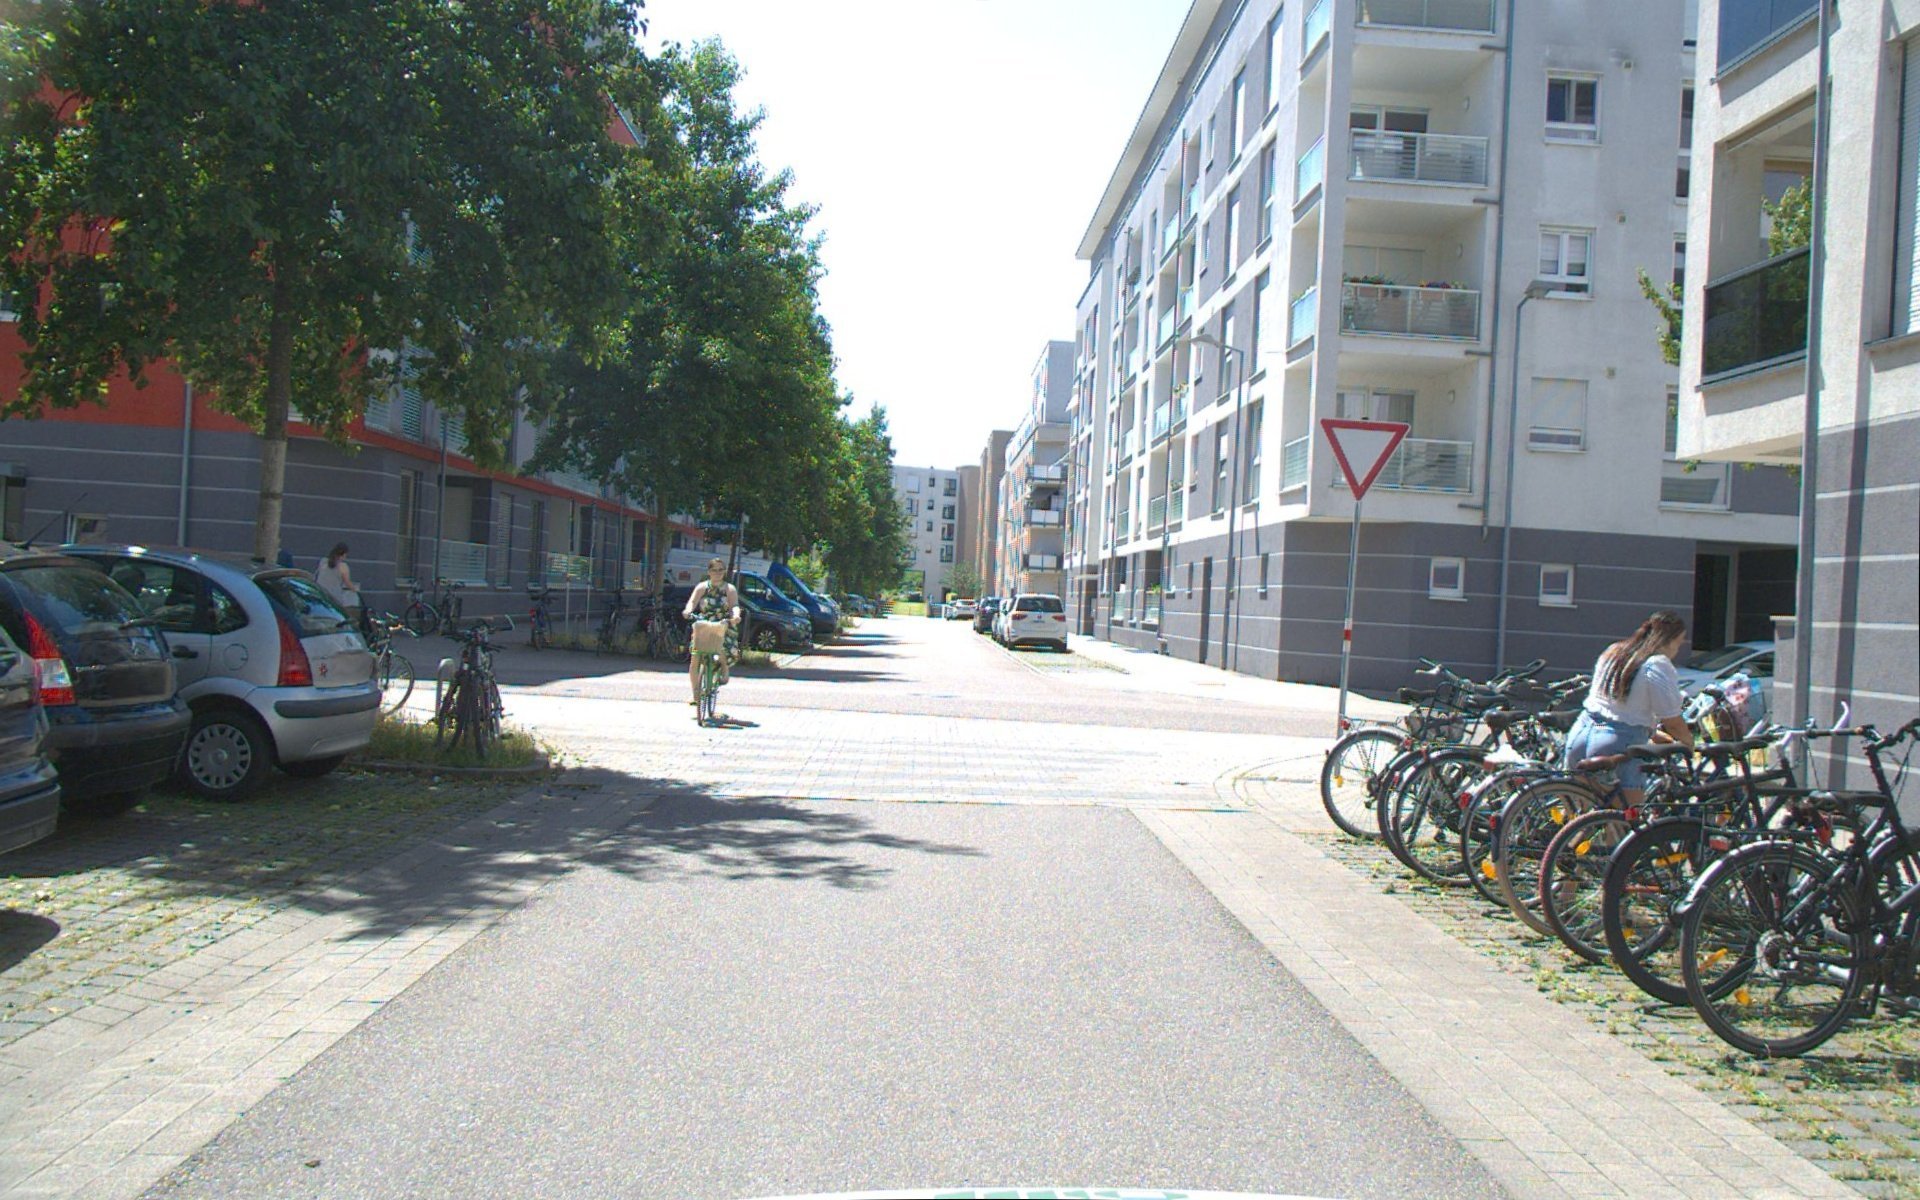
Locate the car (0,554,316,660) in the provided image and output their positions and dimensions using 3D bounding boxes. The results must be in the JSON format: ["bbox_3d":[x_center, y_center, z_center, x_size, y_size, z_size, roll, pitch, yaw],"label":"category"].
[{"bbox_3d":[-12.907,0.089,26.388,4.482,1.407,1.936,3,2,-4],"label":"car"}]

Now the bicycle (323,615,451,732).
[{"bbox_3d":[-5.393,0.669,15.658,0.522,1.007,1.677,5,-1,1],"label":"bicycle"}]

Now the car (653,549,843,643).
[{"bbox_3d":[-6.937,-0.130,54.745,5.902,2.865,2.604,2,0,-2],"label":"car"}]

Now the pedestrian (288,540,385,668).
[{"bbox_3d":[-8.679,0.052,23.060,0.980,1.720,0.832,2,0,-1],"label":"pedestrian"}]

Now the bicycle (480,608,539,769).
[{"bbox_3d":[-3.687,0.689,13.609,0.364,1.201,1.815,2,0,-13],"label":"bicycle"}]

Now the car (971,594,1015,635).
[{"bbox_3d":[1.418,0.613,69.674,1.721,1.579,4.001,3,0,2],"label":"car"}]

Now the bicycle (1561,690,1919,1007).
[{"bbox_3d":[3.405,0.961,6.562,1.751,1.123,0.746,2,0,-5],"label":"bicycle"}]

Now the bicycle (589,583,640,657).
[{"bbox_3d":[-6.688,0.377,32.061,0.581,1.354,1.812,2,1,-1],"label":"bicycle"}]

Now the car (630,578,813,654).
[{"bbox_3d":[-6.016,0.389,42.152,4.295,1.541,2.074,5,0,-2],"label":"car"}]

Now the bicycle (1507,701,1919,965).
[{"bbox_3d":[3.436,1.008,7.257,1.886,1.053,0.559,2,0,-5],"label":"bicycle"}]

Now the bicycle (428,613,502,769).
[{"bbox_3d":[-4.041,0.703,13.571,0.426,1.147,1.972,2,0,-13],"label":"bicycle"}]

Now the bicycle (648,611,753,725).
[{"bbox_3d":[-2.875,0.731,18.553,0.880,1.149,2.039,2,0,-2],"label":"bicycle"}]

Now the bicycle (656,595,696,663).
[{"bbox_3d":[-5.487,0.551,32.050,0.425,1.224,1.699,4,1,-1],"label":"bicycle"}]

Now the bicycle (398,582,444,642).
[{"bbox_3d":[-10.792,0.224,33.149,0.596,1.126,2.100,3,0,-12],"label":"bicycle"}]

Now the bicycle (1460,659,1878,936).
[{"bbox_3d":[3.388,0.929,7.917,1.888,1.239,0.459,2,0,-11],"label":"bicycle"}]

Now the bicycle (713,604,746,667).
[{"bbox_3d":[-4.493,0.682,32.292,0.456,1.161,1.925,2,0,-4],"label":"bicycle"}]

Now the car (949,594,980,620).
[{"bbox_3d":[0.292,0.492,118.202,1.954,1.704,3.998,3,0,-3],"label":"car"}]

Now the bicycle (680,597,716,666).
[{"bbox_3d":[-5.064,0.603,32.056,0.560,1.194,1.765,5,1,-8],"label":"bicycle"}]

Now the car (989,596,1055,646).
[{"bbox_3d":[2.049,0.670,55.282,1.953,1.551,3.999,2,0,-1],"label":"car"}]

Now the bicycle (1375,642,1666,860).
[{"bbox_3d":[3.415,0.907,10.155,1.520,1.239,0.707,2,0,-3],"label":"bicycle"}]

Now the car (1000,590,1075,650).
[{"bbox_3d":[2.273,0.570,49.587,1.957,1.686,4.114,2,0,-1],"label":"car"}]

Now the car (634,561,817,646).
[{"bbox_3d":[-6.934,0.087,49.312,5.042,2.156,2.311,4,0,-2],"label":"car"}]

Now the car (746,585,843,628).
[{"bbox_3d":[-7.162,0.266,71.942,3.905,1.646,2.000,3,0,0],"label":"car"}]

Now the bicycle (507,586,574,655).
[{"bbox_3d":[-8.059,0.369,31.854,0.675,1.190,2.222,5,1,-1],"label":"bicycle"}]

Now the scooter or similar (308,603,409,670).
[{"bbox_3d":[-8.697,0.517,23.950,1.046,0.904,1.018,3,0,0],"label":"scooter or similar"}]

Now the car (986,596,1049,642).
[{"bbox_3d":[2.041,0.664,60.111,1.954,1.551,3.998,2,0,-3],"label":"car"}]

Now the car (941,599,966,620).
[{"bbox_3d":[-0.553,0.839,145.408,1.954,1.747,3.998,3,0,-3],"label":"car"}]

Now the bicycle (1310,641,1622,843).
[{"bbox_3d":[3.289,0.912,10.862,1.821,1.214,0.687,2,0,1],"label":"bicycle"}]

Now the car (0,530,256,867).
[{"bbox_3d":[-6.094,0.406,8.746,3.905,1.582,1.800,2,0,0],"label":"car"}]

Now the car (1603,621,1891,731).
[{"bbox_3d":[13.008,1.238,27.490,3.907,1.495,1.755,3,2,-3],"label":"car"}]

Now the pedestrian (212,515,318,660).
[{"bbox_3d":[-10.201,-0.183,24.310,0.988,2.049,1.129,2,0,1],"label":"pedestrian"}]

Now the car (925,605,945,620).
[{"bbox_3d":[-2.731,1.383,180.662,1.953,1.545,4.000,3,0,1],"label":"car"}]

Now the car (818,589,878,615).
[{"bbox_3d":[-7.838,0.138,115.950,3.903,1.630,2.001,3,0,5],"label":"car"}]

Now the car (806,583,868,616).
[{"bbox_3d":[-8.437,-0.052,113.550,3.903,2.049,2.001,3,0,5],"label":"car"}]

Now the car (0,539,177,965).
[{"bbox_3d":[-5.456,0.424,6.120,4.100,1.512,1.957,4,-1,-5],"label":"car"}]

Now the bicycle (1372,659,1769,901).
[{"bbox_3d":[3.221,0.932,8.862,1.882,1.153,0.609,2,0,8],"label":"bicycle"}]

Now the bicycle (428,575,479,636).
[{"bbox_3d":[-10.932,0.108,35.773,0.540,1.261,1.924,2,0,-2],"label":"bicycle"}]

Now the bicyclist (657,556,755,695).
[{"bbox_3d":[-2.829,0.275,18.527,0.934,1.485,0.799,2,0,-2],"label":"bicyclist"}]

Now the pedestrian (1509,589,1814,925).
[{"bbox_3d":[3.393,0.733,8.045,1.157,1.541,0.686,1,0,-11],"label":"pedestrian"}]

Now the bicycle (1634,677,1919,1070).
[{"bbox_3d":[3.436,0.929,5.816,1.833,1.239,0.715,2,0,-5],"label":"bicycle"}]

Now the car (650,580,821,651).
[{"bbox_3d":[-6.011,0.415,44.703,4.295,1.568,1.878,4,0,-2],"label":"car"}]

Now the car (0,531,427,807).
[{"bbox_3d":[-5.675,0.369,11.033,3.557,1.547,1.831,4,0,-2],"label":"car"}]

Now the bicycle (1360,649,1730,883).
[{"bbox_3d":[3.303,0.919,9.470,1.882,1.200,0.639,2,0,8],"label":"bicycle"}]

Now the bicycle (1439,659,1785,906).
[{"bbox_3d":[3.362,0.910,8.501,1.807,1.168,0.458,2,0,-21],"label":"bicycle"}]

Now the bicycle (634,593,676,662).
[{"bbox_3d":[-5.947,0.519,32.290,0.508,1.224,1.751,4,1,-3],"label":"bicycle"}]
